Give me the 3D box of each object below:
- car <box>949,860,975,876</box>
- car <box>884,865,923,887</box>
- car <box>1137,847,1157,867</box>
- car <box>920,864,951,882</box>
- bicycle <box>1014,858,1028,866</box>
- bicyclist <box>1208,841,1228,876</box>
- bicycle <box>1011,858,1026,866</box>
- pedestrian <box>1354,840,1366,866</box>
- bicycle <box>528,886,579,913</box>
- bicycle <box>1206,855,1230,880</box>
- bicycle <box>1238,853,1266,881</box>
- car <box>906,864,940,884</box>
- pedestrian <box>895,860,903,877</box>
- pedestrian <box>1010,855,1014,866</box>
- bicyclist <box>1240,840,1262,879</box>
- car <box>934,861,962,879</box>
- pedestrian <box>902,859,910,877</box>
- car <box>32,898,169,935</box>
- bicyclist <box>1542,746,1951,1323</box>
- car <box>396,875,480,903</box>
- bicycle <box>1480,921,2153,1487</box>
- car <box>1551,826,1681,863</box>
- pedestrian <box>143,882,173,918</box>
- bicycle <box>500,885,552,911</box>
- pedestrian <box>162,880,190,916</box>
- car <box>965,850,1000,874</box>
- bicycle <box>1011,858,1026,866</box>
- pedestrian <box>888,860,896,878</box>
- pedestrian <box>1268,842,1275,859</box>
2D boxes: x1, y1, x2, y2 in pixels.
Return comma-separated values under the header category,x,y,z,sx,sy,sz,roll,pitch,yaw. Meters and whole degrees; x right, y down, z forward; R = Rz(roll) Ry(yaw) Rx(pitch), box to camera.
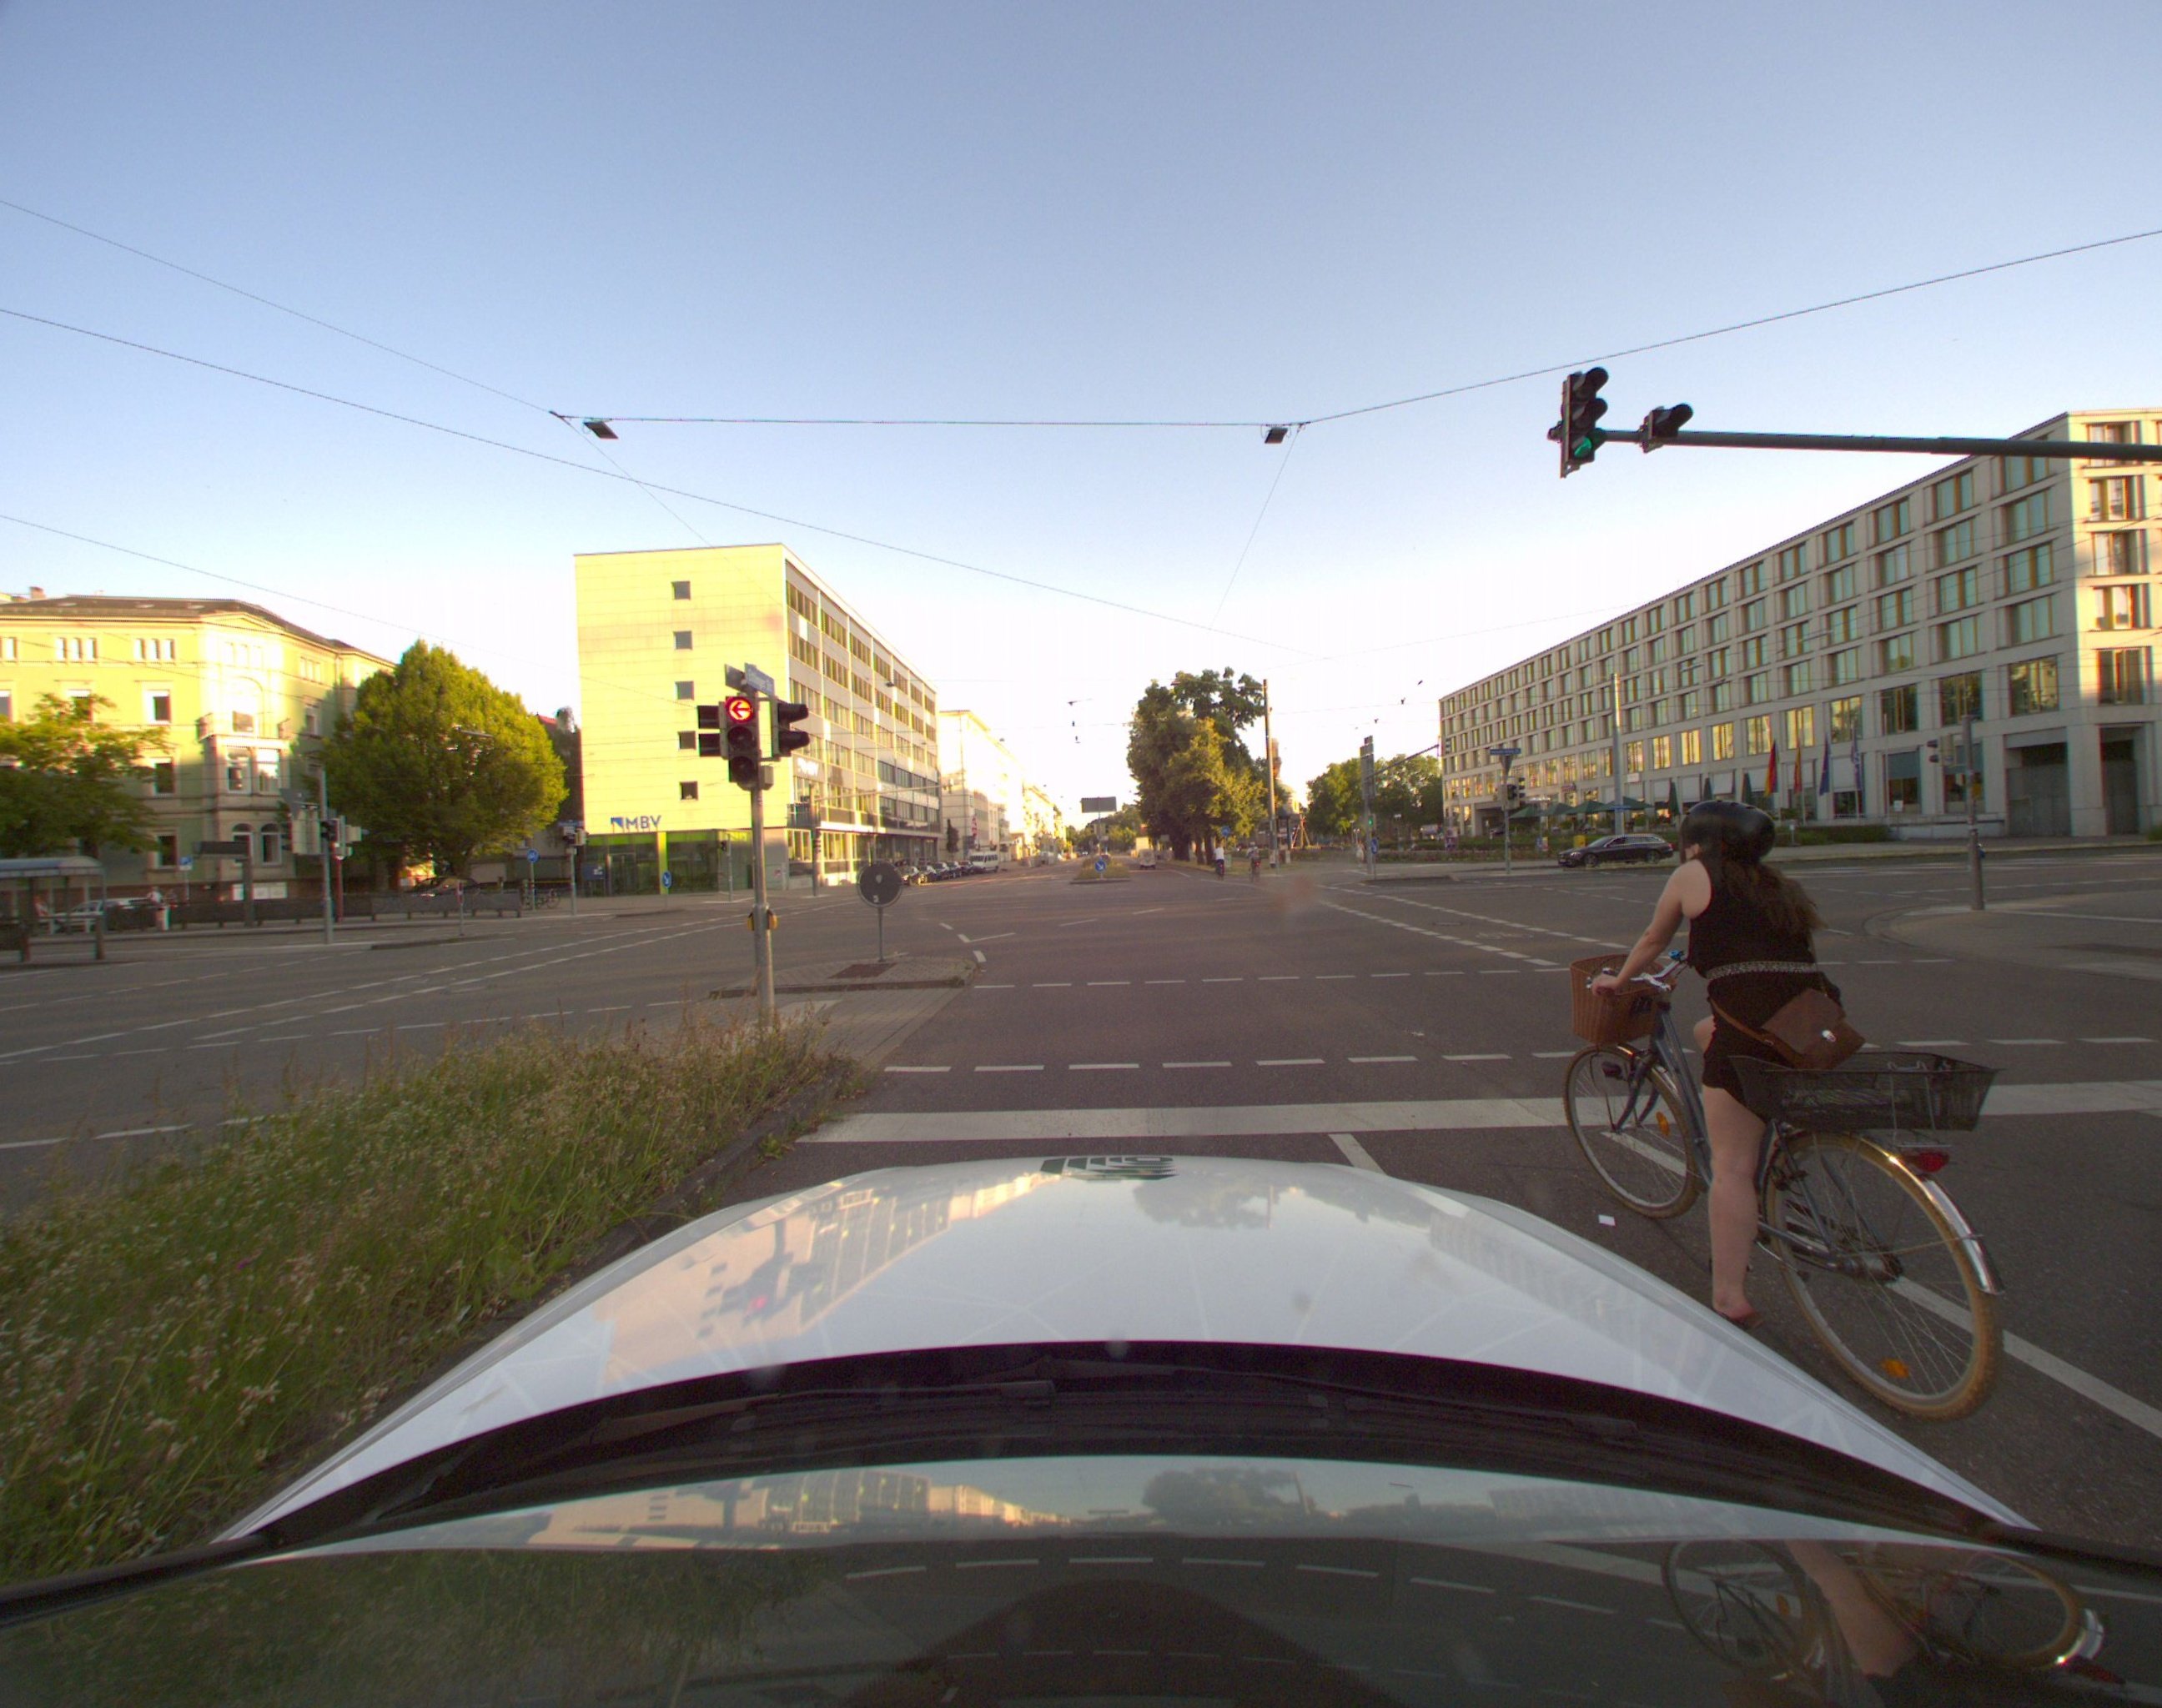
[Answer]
category,x,y,z,sx,sy,sz,roll,pitch,yaw
car,-12.396,1.450,85.244,1.913,1.568,4.002,-3,0,2
car,-13.519,1.663,62.358,1.913,1.464,4.105,-3,0,2
car,5.659,0.256,70.235,1.403,1.641,4.000,-3,0,1
car,-13.115,1.687,73.719,1.913,1.464,4.002,-3,0,2
bicycle,-9.502,1.276,129.332,2.198,1.236,0.839,-3,0,0
bicyclist,6.695,0.208,39.793,0.744,1.663,0.873,-3,0,1
bicycle,-9.734,1.300,127.352,2.198,1.112,0.689,-3,0,0
pedestrian,16.480,-0.049,48.052,0.489,1.540,0.408,-3,0,1
bicycle,-25.724,2.204,39.769,0.832,1.112,2.216,-3,0,6
bicycle,6.745,0.637,40.205,0.744,1.144,2.506,-3,0,2
bicycle,7.456,0.552,35.675,0.744,1.144,2.506,-3,0,2
car,-13.322,1.649,68.906,1.913,1.464,4.002,-3,0,2
pedestrian,-17.638,1.398,78.788,0.549,1.679,0.500,-3,0,1
pedestrian,-14.003,1.326,165.496,0.677,2.013,0.545,-3,0,1
bicyclist,7.437,0.235,35.625,0.744,1.691,0.799,-3,0,1
car,-12.863,1.577,79.021,1.913,1.568,4.002,-3,0,2
pedestrian,-16.908,1.373,78.665,0.549,1.679,0.500,-3,0,1
car,-45.245,2.847,37.664,3.588,1.372,1.833,-3,0,-15
bicyclist,2.178,0.515,2.822,0.597,1.636,0.999,-1,0,2
car,-36.541,1.948,46.377,1.830,1.372,3.594,-3,0,0
bicycle,2.183,0.890,2.879,0.609,1.132,2.005,-1,0,2
car,25.556,-0.435,39.032,4.803,1.515,2.002,-3,0,4
pedestrian,-47.557,2.338,41.970,0.641,1.790,0.720,-3,0,-12
bicycle,-27.138,2.136,39.879,0.832,1.112,2.216,-3,0,6
pedestrian,-47.519,2.302,42.767,0.641,1.790,0.720,-3,0,-12
car,-11.070,0.870,91.679,1.988,2.478,5.888,-3,0,12
bicycle,-9.619,1.302,125.921,2.198,1.112,0.619,-3,0,0
pedestrian,-18.249,1.430,78.560,0.549,1.679,0.500,-3,0,1
pedestrian,18.072,-0.333,77.146,0.458,1.656,0.567,-3,0,1
